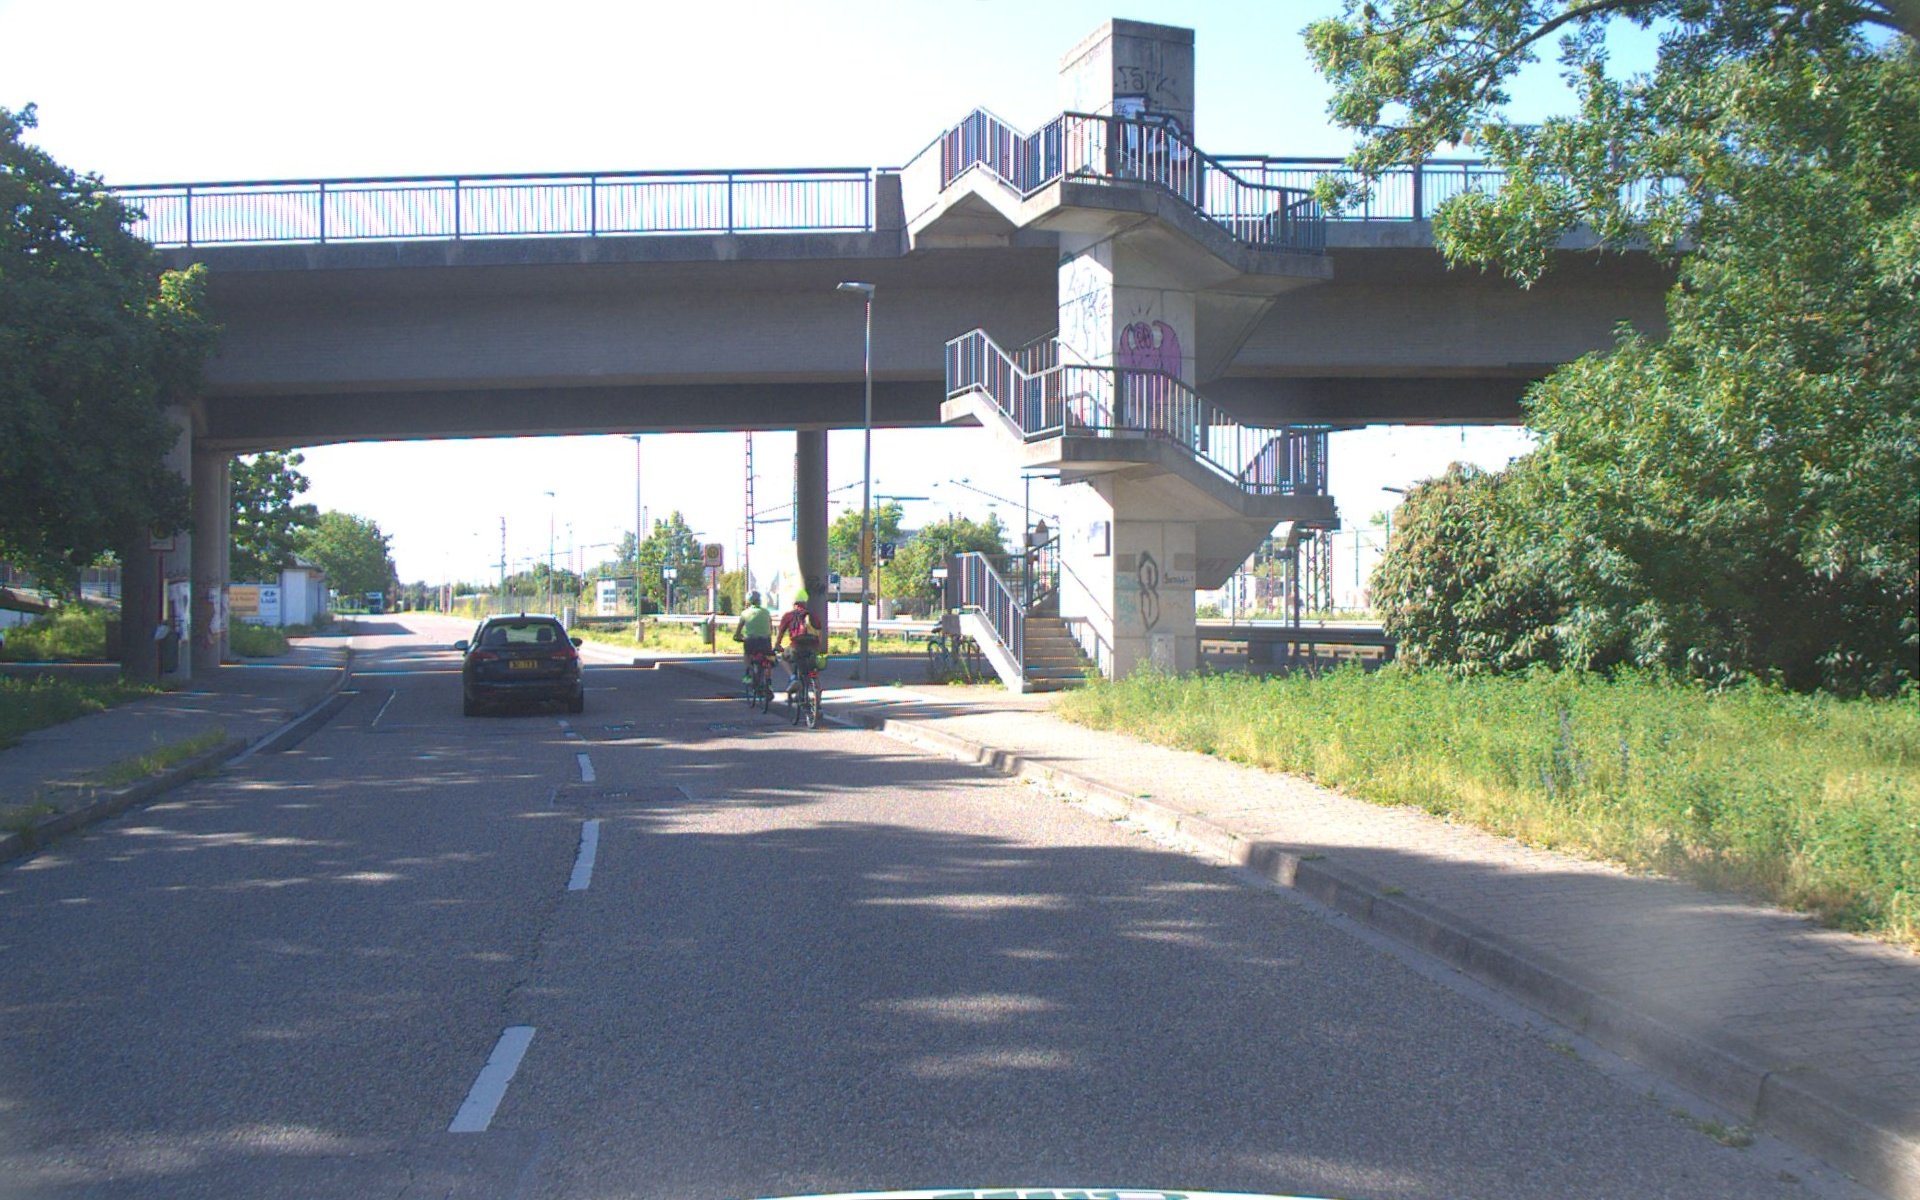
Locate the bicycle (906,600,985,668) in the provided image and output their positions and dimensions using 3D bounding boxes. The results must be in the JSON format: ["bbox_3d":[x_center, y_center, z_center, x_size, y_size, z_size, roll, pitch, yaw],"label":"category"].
[{"bbox_3d":[-0.285,0.610,30.617,0.589,1.203,2.163,-2,0,-25],"label":"bicycle"}]

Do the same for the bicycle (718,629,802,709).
[{"bbox_3d":[-2.989,0.996,24.582,0.828,1.070,2.178,-1,1,-18],"label":"bicycle"}]

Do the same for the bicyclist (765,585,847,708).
[{"bbox_3d":[-1.975,0.574,21.124,0.828,1.514,0.919,-1,0,-19],"label":"bicyclist"}]

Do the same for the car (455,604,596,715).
[{"bbox_3d":[-6.771,0.841,25.731,1.910,1.515,4.546,-1,0,-15],"label":"car"}]

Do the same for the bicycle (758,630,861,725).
[{"bbox_3d":[-1.951,0.951,21.072,0.828,1.070,2.178,-1,1,-18],"label":"bicycle"}]

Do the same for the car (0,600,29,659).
[{"bbox_3d":[-28.772,0.944,46.698,1.824,1.670,4.286,-4,1,14],"label":"car"}]

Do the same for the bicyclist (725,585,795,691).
[{"bbox_3d":[-2.974,0.548,24.536,0.828,1.514,0.918,-1,0,-19],"label":"bicyclist"}]
